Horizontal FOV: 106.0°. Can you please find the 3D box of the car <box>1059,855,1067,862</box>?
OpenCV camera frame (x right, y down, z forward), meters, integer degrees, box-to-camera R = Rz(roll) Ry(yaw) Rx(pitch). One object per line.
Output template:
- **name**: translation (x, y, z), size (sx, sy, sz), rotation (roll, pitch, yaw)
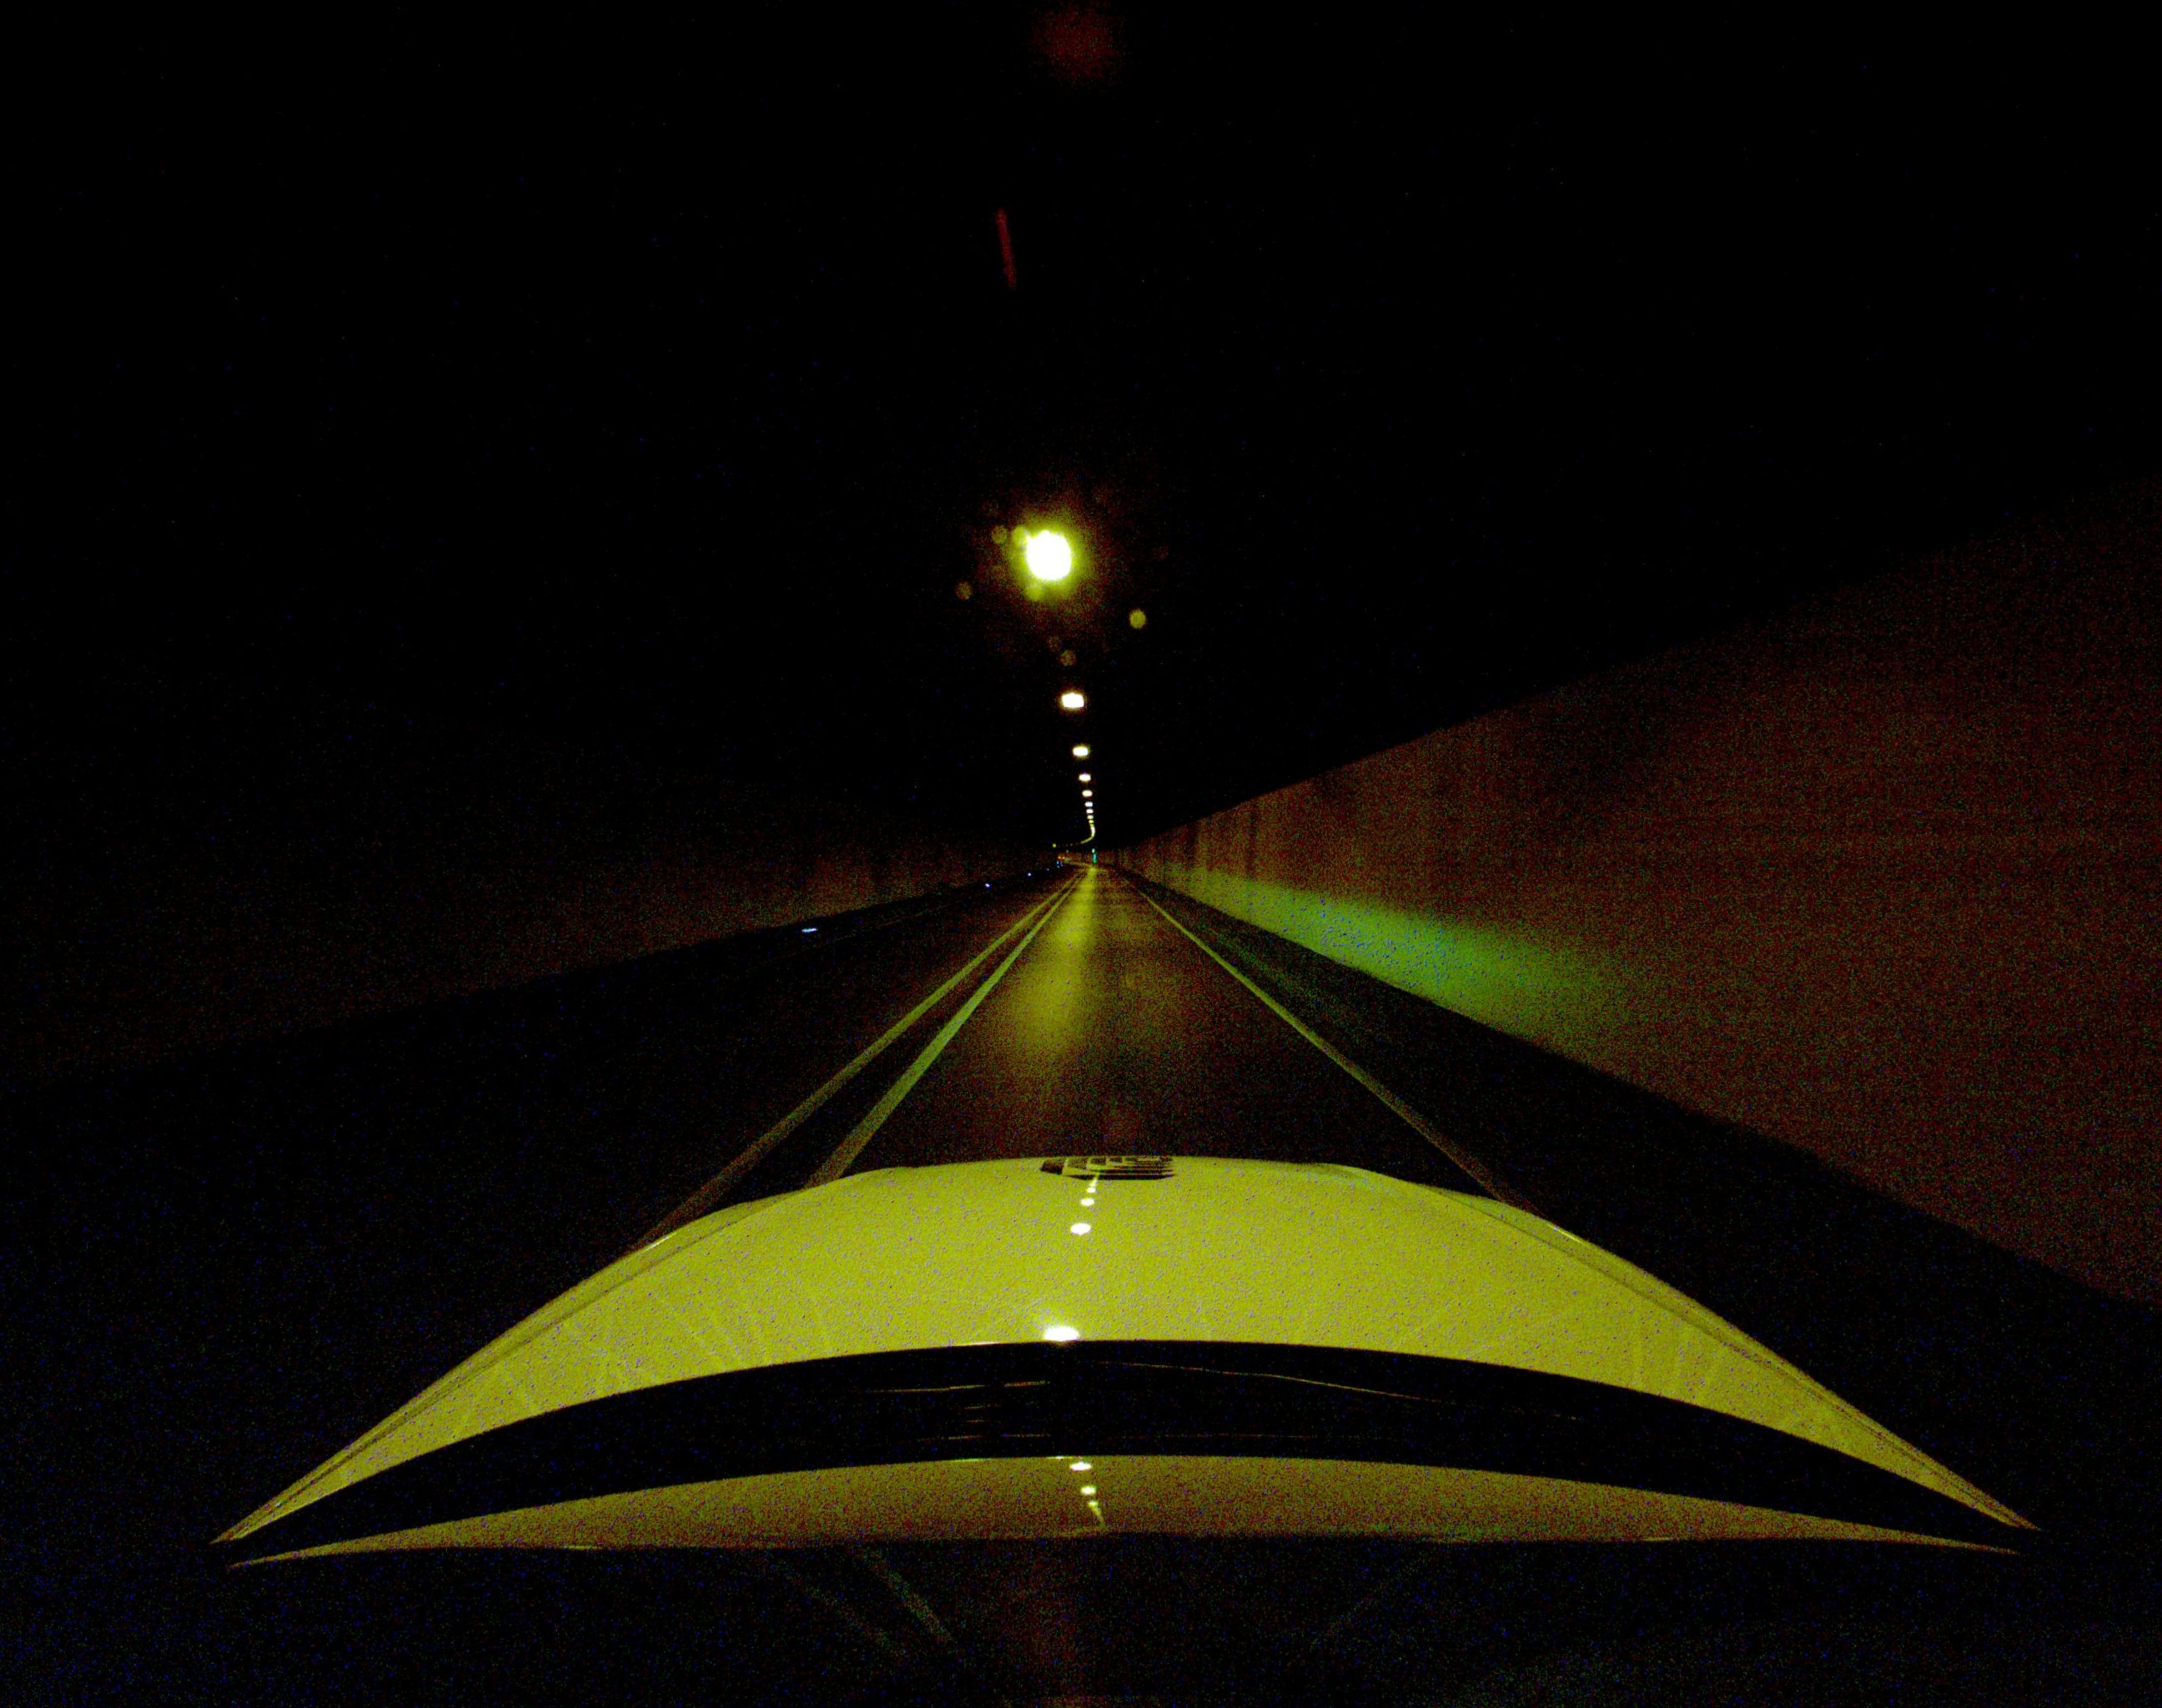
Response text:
- **car**: translation (-5.611, 1.383, 252.912), size (1.964, 1.939, 4.603), rotation (1, -1, -5)
